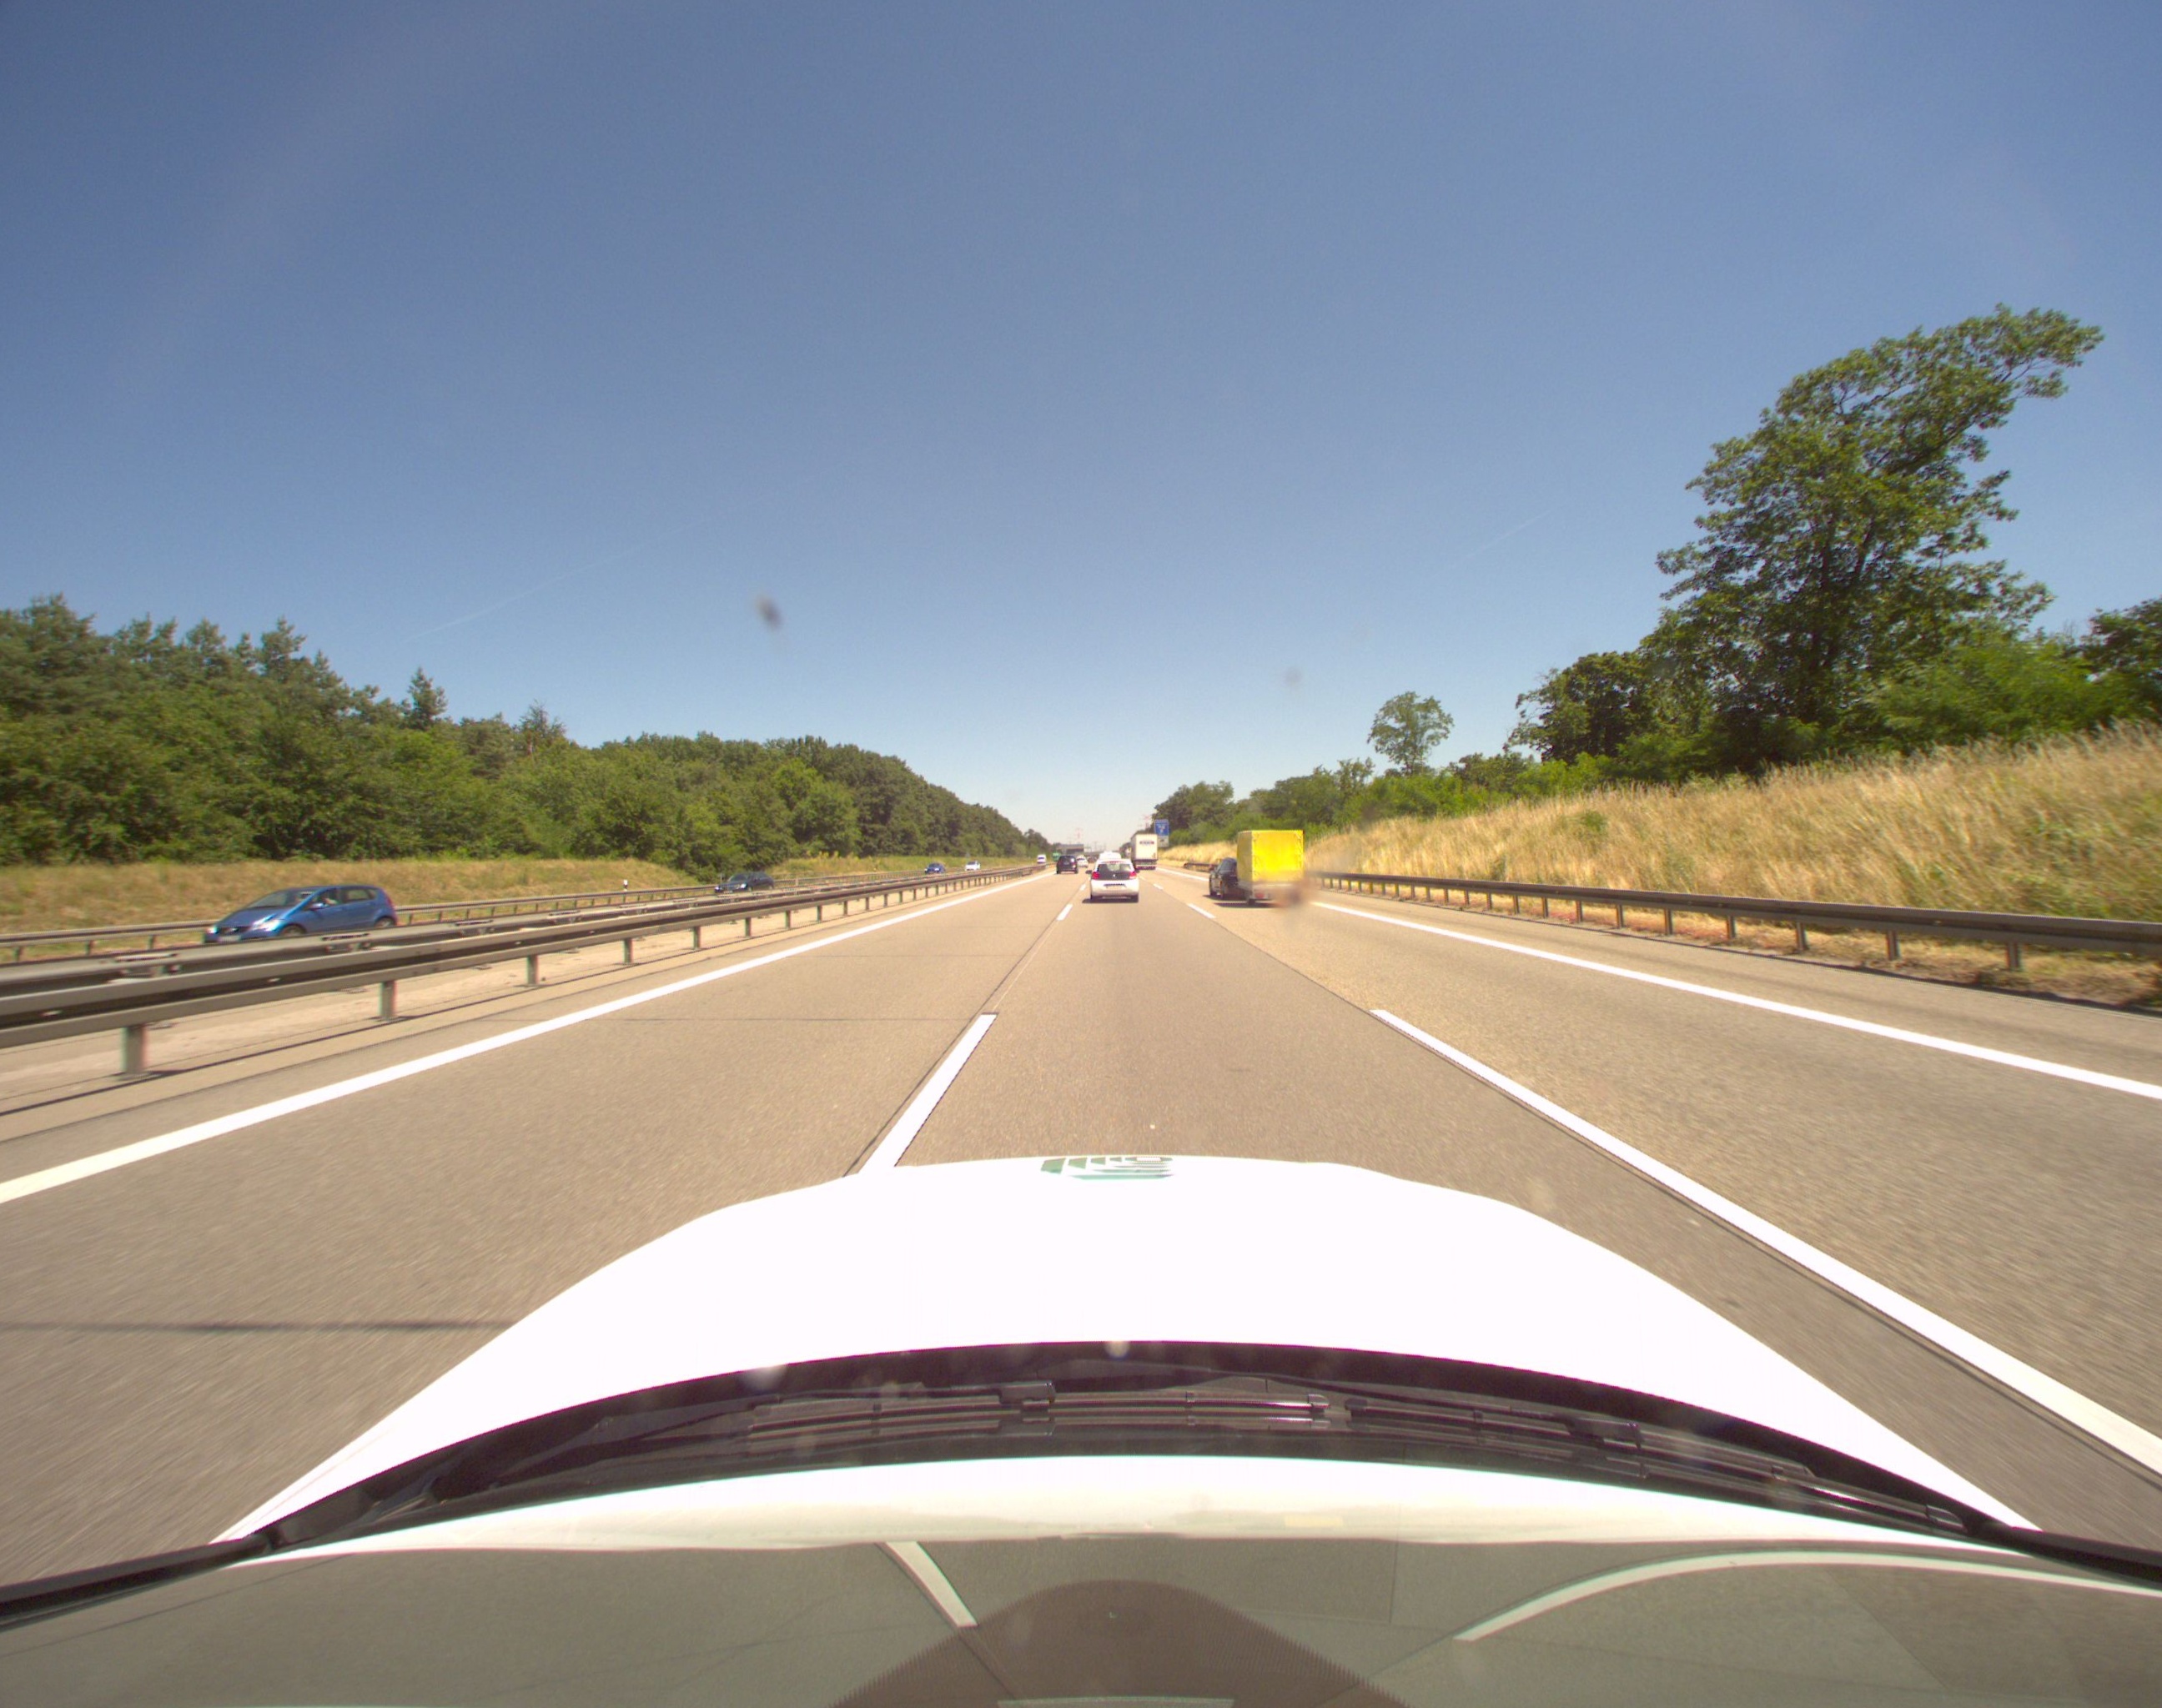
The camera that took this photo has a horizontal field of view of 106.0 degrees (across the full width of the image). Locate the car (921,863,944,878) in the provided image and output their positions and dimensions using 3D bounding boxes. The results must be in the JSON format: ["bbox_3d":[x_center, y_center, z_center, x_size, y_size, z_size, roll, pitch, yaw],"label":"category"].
[{"bbox_3d":[-17.803,1.982,97.746,1.696,1.545,4.537,-4,0,1],"label":"car"}]

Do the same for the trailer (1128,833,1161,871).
[{"bbox_3d":[7.454,-0.160,97.569,3.274,4.219,13.567,0,-1,1],"label":"trailer"}]

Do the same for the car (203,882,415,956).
[{"bbox_3d":[-20.192,1.630,21.582,1.518,1.540,4.112,-4,0,1],"label":"car"}]

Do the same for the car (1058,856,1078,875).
[{"bbox_3d":[-1.160,1.055,75.263,1.620,1.755,3.806,-1,0,2],"label":"car"}]

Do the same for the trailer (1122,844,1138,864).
[{"bbox_3d":[9.612,0.097,159.996,2.673,3.837,12.012,0,-1,1],"label":"trailer"}]

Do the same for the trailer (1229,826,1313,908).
[{"bbox_3d":[5.677,0.385,24.776,1.697,2.289,3.840,0,0,1],"label":"trailer"}]

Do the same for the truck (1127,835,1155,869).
[{"bbox_3d":[7.605,-0.259,104.346,3.274,4.219,6.008,0,-1,1],"label":"truck"}]

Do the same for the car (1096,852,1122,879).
[{"bbox_3d":[2.011,0.809,58.999,1.808,1.827,5.111,-1,-1,1],"label":"car"}]

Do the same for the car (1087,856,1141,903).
[{"bbox_3d":[1.122,0.826,28.233,1.702,1.495,4.025,-1,0,2],"label":"car"}]

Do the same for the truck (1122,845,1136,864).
[{"bbox_3d":[9.734,0.152,165.693,2.673,3.837,4.445,0,-1,1],"label":"truck"}]

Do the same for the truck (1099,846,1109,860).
[{"bbox_3d":[5.046,-0.148,176.482,2.053,2.914,7.004,-1,-1,1],"label":"truck"}]

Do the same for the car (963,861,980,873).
[{"bbox_3d":[-17.002,2.011,126.544,1.696,1.661,5.118,-4,0,1],"label":"car"}]

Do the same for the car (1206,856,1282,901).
[{"bbox_3d":[5.723,0.816,29.110,1.815,1.456,4.788,0,0,1],"label":"car"}]

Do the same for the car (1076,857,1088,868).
[{"bbox_3d":[0.181,1.174,113.313,1.663,1.401,3.713,-1,0,0],"label":"car"}]

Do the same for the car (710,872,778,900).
[{"bbox_3d":[-19.438,1.810,47.186,1.669,1.365,4.891,-4,0,1],"label":"car"}]

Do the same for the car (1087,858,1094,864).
[{"bbox_3d":[2.396,1.737,200.108,1.601,1.300,3.675,-1,0,2],"label":"car"}]
